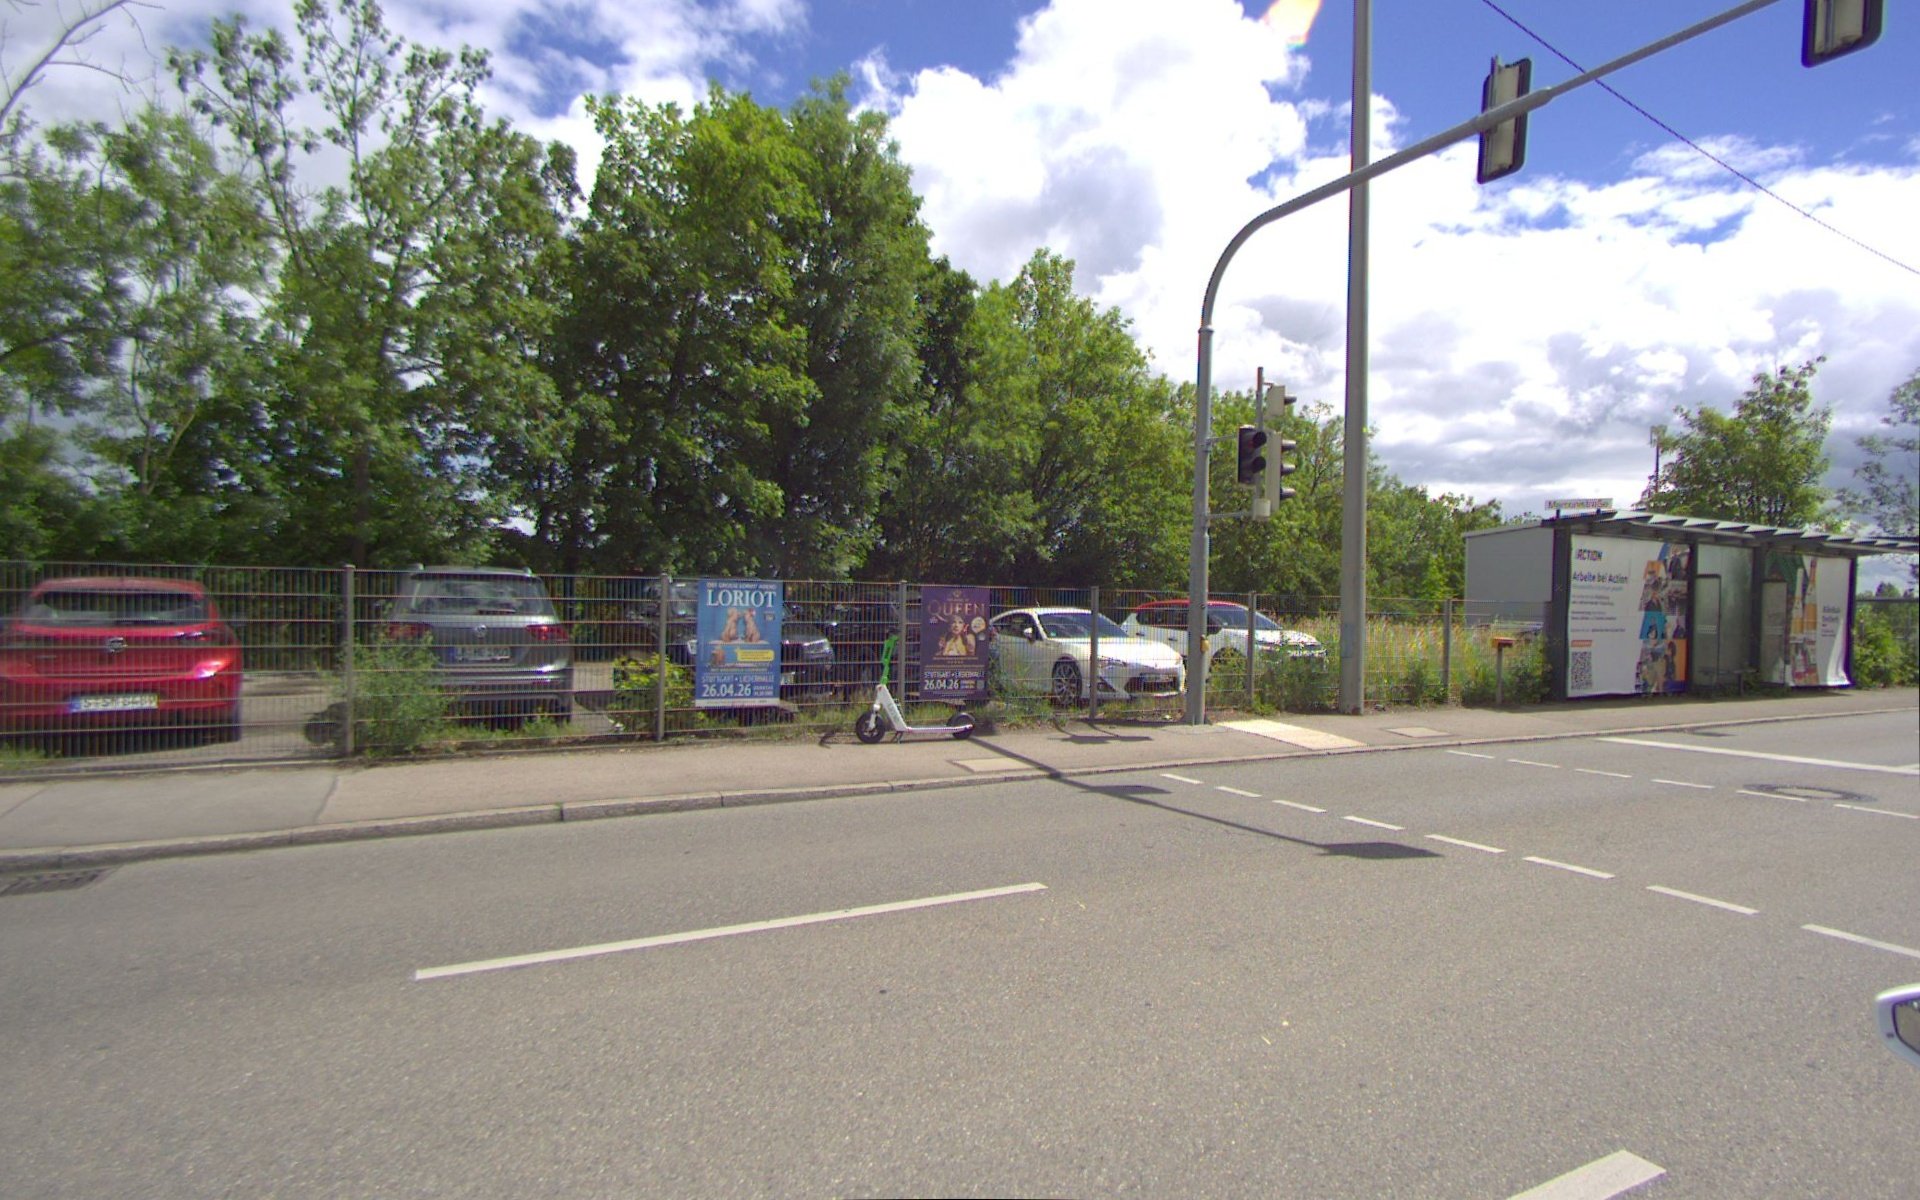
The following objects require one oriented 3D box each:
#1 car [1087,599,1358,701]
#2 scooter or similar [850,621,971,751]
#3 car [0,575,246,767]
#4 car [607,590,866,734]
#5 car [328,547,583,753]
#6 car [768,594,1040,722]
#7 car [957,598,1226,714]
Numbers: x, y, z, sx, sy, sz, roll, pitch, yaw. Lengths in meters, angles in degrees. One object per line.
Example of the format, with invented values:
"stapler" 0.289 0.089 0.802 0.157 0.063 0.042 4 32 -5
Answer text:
"car" 4.166 0.724 16.686 1.999 1.438 4.293 1 0 -28
"scooter or similar" -0.495 0.846 10.119 1.111 1.227 0.422 1 2 -26
"car" -7.918 0.525 9.379 1.886 1.438 3.823 1 0 -38
"car" -2.901 0.627 12.299 1.976 1.438 4.083 1 0 -30
"car" -5.577 0.437 10.821 1.979 1.758 4.078 1 0 -33
"car" -0.923 0.667 13.638 1.978 1.438 4.080 1 0 -32
"car" 1.759 0.714 14.829 1.893 1.438 4.085 1 0 -29
